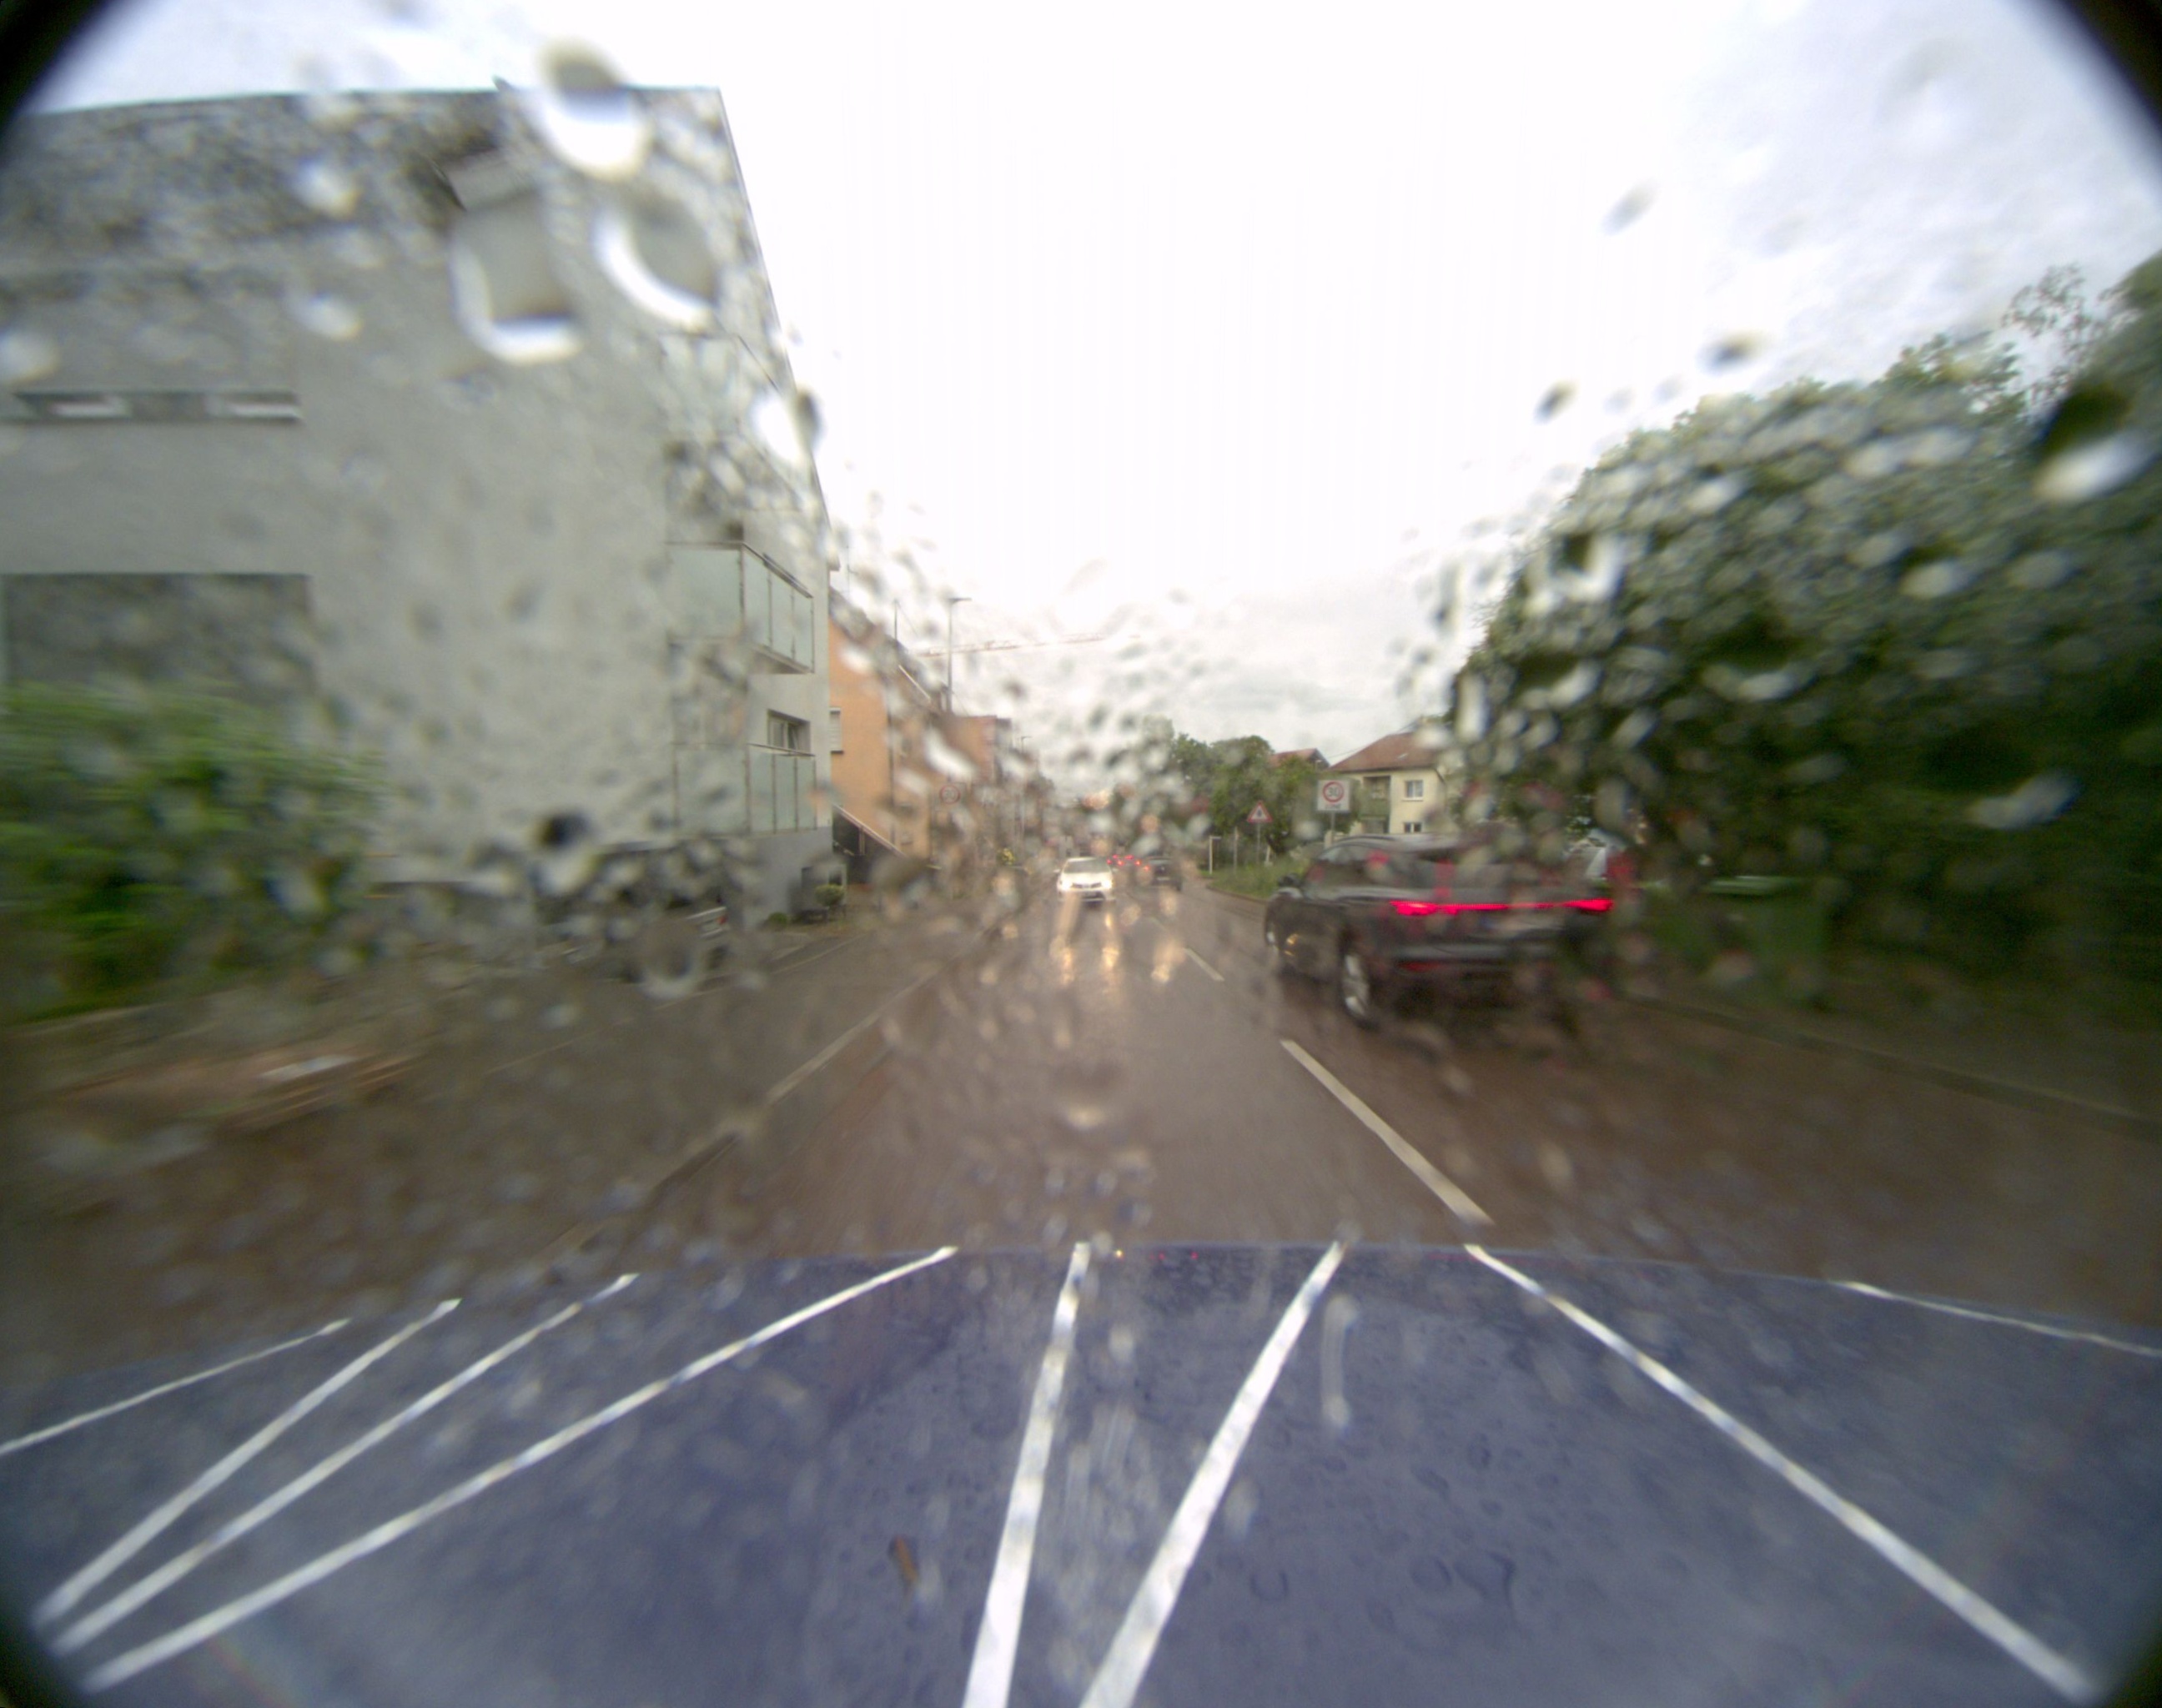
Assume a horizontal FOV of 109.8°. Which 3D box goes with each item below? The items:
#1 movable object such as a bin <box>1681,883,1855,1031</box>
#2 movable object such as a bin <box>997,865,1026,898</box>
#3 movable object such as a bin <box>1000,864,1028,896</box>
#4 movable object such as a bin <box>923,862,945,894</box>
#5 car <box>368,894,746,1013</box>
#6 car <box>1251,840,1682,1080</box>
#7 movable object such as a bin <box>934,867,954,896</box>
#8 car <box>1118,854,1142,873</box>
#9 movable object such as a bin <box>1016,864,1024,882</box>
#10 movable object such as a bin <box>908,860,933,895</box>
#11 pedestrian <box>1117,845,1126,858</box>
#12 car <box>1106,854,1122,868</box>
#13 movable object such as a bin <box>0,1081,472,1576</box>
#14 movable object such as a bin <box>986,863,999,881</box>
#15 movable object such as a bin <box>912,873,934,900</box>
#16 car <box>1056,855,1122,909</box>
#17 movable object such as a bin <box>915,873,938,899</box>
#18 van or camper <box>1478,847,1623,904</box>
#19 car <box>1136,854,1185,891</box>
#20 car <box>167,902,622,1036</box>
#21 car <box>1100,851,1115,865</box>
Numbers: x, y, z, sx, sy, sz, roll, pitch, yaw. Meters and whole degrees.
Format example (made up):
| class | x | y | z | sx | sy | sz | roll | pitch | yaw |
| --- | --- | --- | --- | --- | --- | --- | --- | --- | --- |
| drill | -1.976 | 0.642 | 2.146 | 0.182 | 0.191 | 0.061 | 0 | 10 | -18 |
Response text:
| class | x | y | z | sx | sy | sz | roll | pitch | yaw |
| --- | --- | --- | --- | --- | --- | --- | --- | --- | --- |
| movable object such as a bin | 5.627 | 0.817 | 6.270 | 0.722 | 1.093 | 0.757 | -2 | 1 | 0 |
| movable object such as a bin | -2.406 | 0.943 | 26.380 | 0.916 | 1.096 | 0.702 | -1 | 1 | 2 |
| movable object such as a bin | -2.384 | 0.930 | 27.128 | 0.916 | 1.096 | 0.702 | -1 | 1 | 2 |
| movable object such as a bin | -5.278 | 0.869 | 27.314 | 0.662 | 1.086 | 0.545 | 3 | 0 | -2 |
| car | -7.781 | 1.459 | 11.617 | 4.480 | 1.436 | 1.754 | -1 | 4 | 0 |
| car | 3.156 | 0.727 | 7.417 | 1.923 | 1.614 | 4.362 | -1 | 0 | -1 |
| movable object such as a bin | -5.392 | 1.075 | 29.926 | 0.662 | 1.086 | 0.655 | 2 | 0 | -2 |
| car | 3.783 | 0.715 | 58.548 | 1.723 | 1.421 | 3.845 | -1 | 0 | 2 |
| movable object such as a bin | -3.515 | 1.099 | 43.797 | 0.380 | 1.012 | 0.487 | -1 | 1 | 0 |
| movable object such as a bin | -5.321 | 0.772 | 25.213 | 0.662 | 1.086 | 0.545 | 3 | 0 | -2 |
| pedestrian | 5.534 | -0.324 | 104.397 | 0.971 | 1.820 | 0.894 | -1 | 1 | -8 |
| car | 3.630 | 0.710 | 83.526 | 1.564 | 1.446 | 4.084 | -1 | 0 | 0 |
| movable object such as a bin | -2.264 | 1.172 | 2.055 | 0.632 | 0.892 | 0.712 | -1 | 0 | 0 |
| movable object such as a bin | -5.133 | 1.058 | 44.224 | 0.611 | 0.961 | 0.792 | 5 | 0 | -2 |
| movable object such as a bin | -5.391 | 1.118 | 25.918 | 0.639 | 0.890 | 0.536 | -1 | 0 | 0 |
| car | 0.224 | 0.802 | 23.684 | 1.859 | 1.427 | 4.016 | -2 | 1 | 0 |
| movable object such as a bin | -5.405 | 1.117 | 26.536 | 0.671 | 0.890 | 0.536 | -1 | 0 | 0 |
| van or camper | 23.221 | 0.999 | 37.899 | 1.643 | 2.542 | 6.051 | -3 | 1 | -31 |
| car | 3.323 | 0.746 | 32.468 | 1.622 | 1.432 | 3.737 | -1 | 0 | -1 |
| car | -8.152 | 1.330 | 9.317 | 3.983 | 1.297 | 1.681 | -1 | 0 | -1 |
| car | 3.446 | 0.506 | 99.684 | 1.755 | 1.679 | 4.375 | -1 | 0 | -1 |
